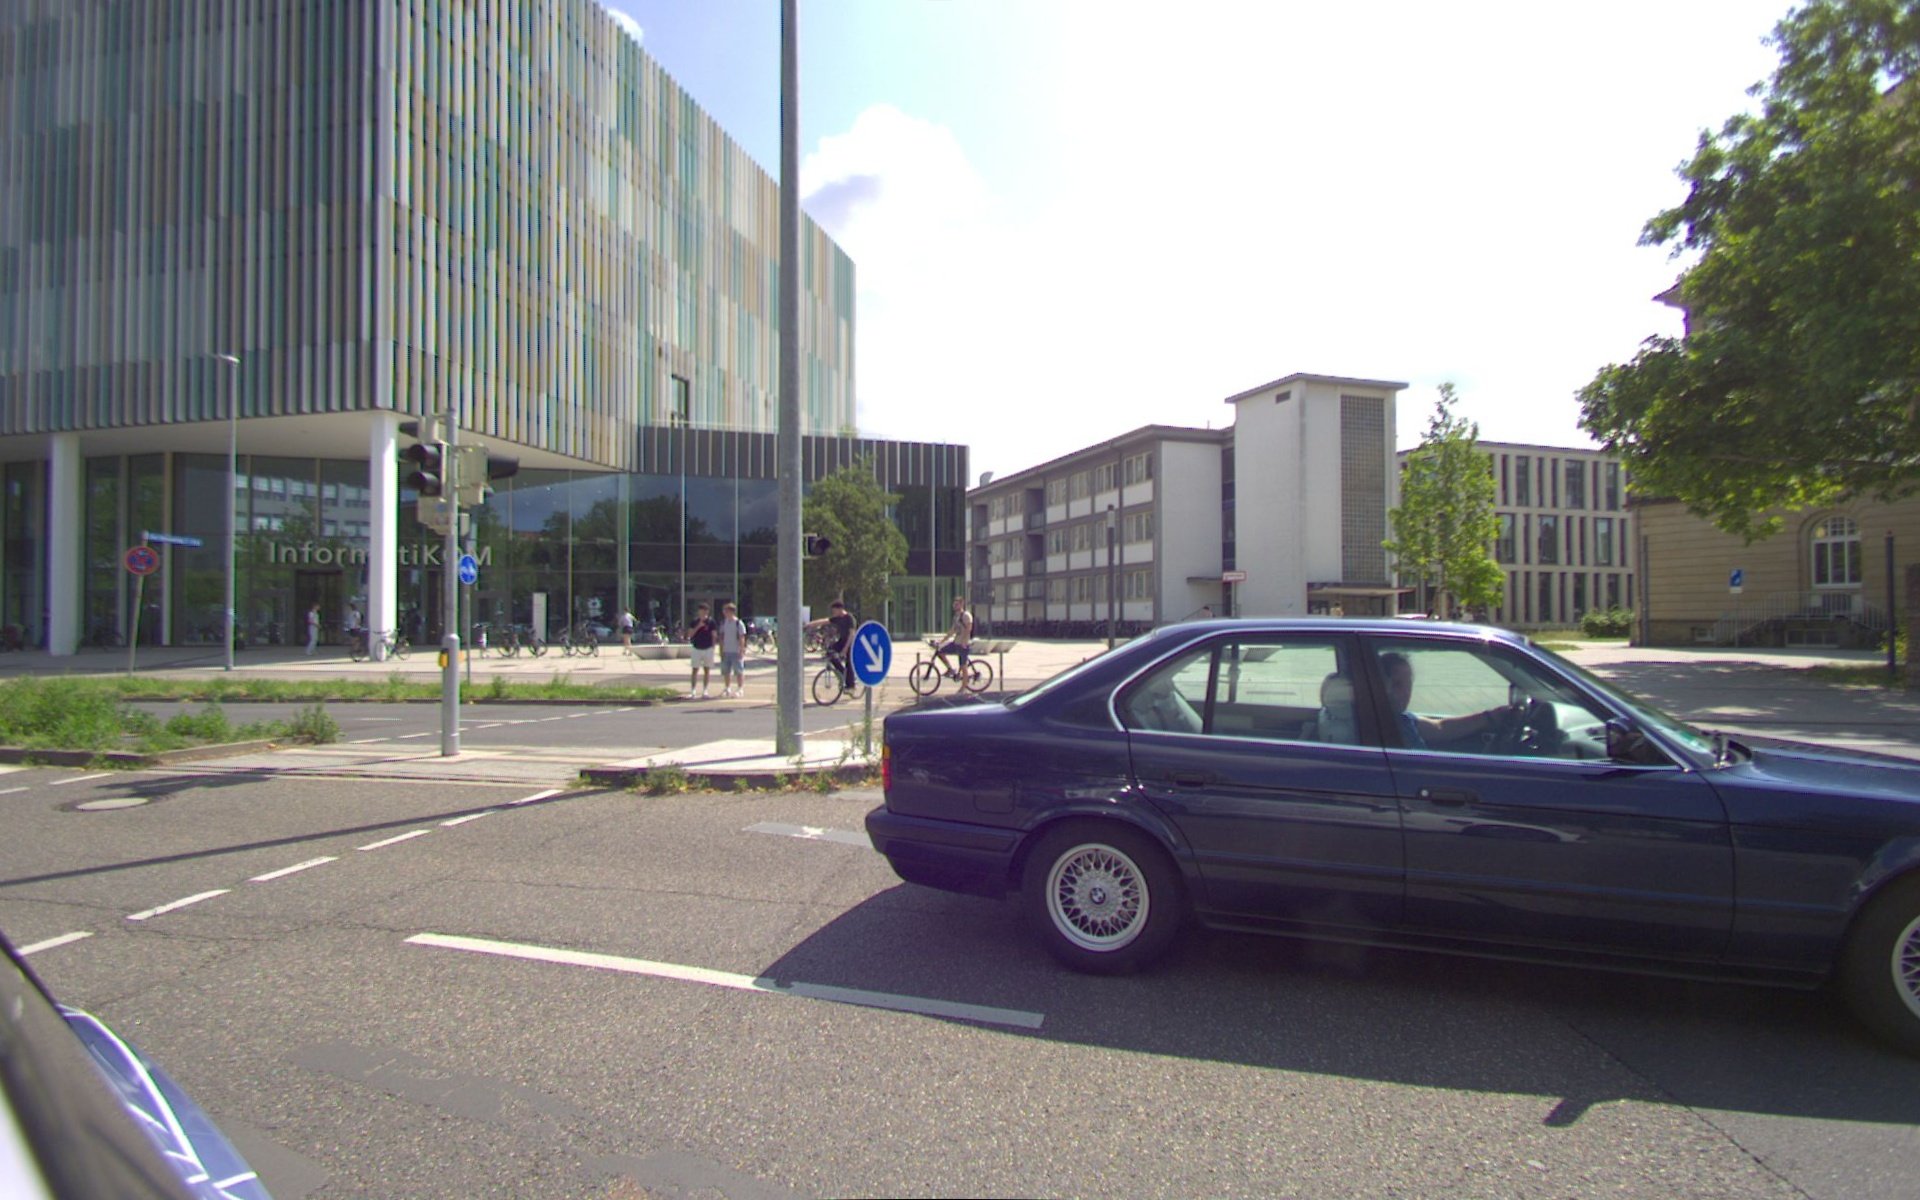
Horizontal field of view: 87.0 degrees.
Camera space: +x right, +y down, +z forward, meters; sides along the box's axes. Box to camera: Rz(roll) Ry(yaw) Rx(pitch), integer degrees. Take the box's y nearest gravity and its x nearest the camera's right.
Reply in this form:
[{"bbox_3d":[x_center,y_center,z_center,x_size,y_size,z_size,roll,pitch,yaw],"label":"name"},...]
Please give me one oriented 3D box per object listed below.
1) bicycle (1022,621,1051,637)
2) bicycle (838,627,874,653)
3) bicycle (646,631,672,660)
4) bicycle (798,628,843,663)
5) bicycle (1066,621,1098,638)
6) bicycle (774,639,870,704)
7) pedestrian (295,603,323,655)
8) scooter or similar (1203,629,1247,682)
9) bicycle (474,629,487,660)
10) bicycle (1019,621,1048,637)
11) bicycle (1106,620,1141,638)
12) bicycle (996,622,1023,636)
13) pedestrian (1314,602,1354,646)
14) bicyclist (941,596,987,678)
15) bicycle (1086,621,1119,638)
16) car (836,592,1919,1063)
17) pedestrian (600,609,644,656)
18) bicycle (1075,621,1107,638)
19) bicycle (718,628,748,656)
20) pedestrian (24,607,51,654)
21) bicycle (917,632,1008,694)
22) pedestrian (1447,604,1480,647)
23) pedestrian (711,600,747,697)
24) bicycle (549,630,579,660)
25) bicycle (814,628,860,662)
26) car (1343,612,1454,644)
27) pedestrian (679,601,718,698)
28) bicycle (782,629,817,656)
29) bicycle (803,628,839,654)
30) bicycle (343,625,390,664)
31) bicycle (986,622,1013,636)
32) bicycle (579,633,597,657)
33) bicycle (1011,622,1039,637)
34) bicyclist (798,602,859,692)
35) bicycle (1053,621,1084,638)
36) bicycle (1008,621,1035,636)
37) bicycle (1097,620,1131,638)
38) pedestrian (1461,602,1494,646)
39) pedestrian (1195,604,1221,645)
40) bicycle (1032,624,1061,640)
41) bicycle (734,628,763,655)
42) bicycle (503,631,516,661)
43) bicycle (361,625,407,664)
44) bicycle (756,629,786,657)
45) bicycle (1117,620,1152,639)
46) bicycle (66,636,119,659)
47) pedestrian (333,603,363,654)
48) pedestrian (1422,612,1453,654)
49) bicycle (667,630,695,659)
[{"bbox_3d":[4.835,1.821,63.755,1.744,0.962,0.530,0,0,-14],"label":"bicycle"},{"bbox_3d":[-4.015,1.535,38.887,0.520,0.962,1.777,0,-1,-38],"label":"bicycle"},{"bbox_3d":[-10.757,1.624,36.180,0.520,0.962,1.779,0,0,-29],"label":"bicycle"},{"bbox_3d":[-4.125,1.318,29.857,0.520,0.962,1.777,0,-1,-38],"label":"bicycle"},{"bbox_3d":[7.113,1.708,59.131,1.744,0.962,0.530,0,0,-14],"label":"bicycle"},{"bbox_3d":[-2.563,1.309,18.800,1.642,1.133,0.697,0,-1,-22],"label":"bicycle"},{"bbox_3d":[-23.513,1.052,36.569,0.776,1.856,0.518,0,0,-41],"label":"pedestrian"},{"bbox_3d":[5.684,1.178,21.770,0.396,1.075,1.154,0,-1,-13],"label":"scooter or similar"},{"bbox_3d":[-16.137,1.488,34.054,0.367,0.962,1.551,0,-1,-24],"label":"bicycle"},{"bbox_3d":[4.672,1.845,64.638,1.744,0.962,0.530,0,0,-14],"label":"bicycle"},{"bbox_3d":[8.840,1.561,54.708,1.744,0.962,0.530,0,0,-14],"label":"bicycle"},{"bbox_3d":[3.362,1.949,68.453,1.744,0.962,0.530,0,0,-14],"label":"bicycle"},{"bbox_3d":[14.600,0.934,39.524,1.293,1.663,1.314,-1,-1,27],"label":"pedestrian"},{"bbox_3d":[0.068,0.714,19.573,0.773,1.550,0.658,0,-1,-10],"label":"bicyclist"},{"bbox_3d":[8.009,1.643,56.864,1.744,0.962,0.530,0,0,-14],"label":"bicycle"},{"bbox_3d":[1.914,0.698,4.261,4.578,1.397,1.686,-1,0,19],"label":"car"},{"bbox_3d":[-12.013,1.148,35.985,1.005,1.663,1.177,-1,-1,14],"label":"pedestrian"},{"bbox_3d":[7.532,1.676,58.107,1.744,0.962,0.530,0,0,-14],"label":"bicycle"},{"bbox_3d":[-8.489,1.553,37.777,0.520,0.962,1.778,0,-1,-32],"label":"bicycle"},{"bbox_3d":[-36.812,1.202,40.390,0.548,1.856,0.561,0,0,7],"label":"pedestrian"},{"bbox_3d":[0.037,1.195,19.557,1.644,1.133,0.697,0,-1,-10],"label":"bicycle"},{"bbox_3d":[21.496,1.069,43.250,0.829,1.803,0.895,0,-1,-16],"label":"pedestrian"},{"bbox_3d":[-4.486,0.931,19.638,0.569,1.856,0.414,-1,0,9],"label":"pedestrian"},{"bbox_3d":[-13.806,1.551,35.320,0.521,0.962,1.776,0,0,-6],"label":"bicycle"},{"bbox_3d":[-3.695,1.336,30.259,0.520,0.962,1.777,0,-1,-38],"label":"bicycle"},{"bbox_3d":[20.172,1.264,46.614,4.417,1.316,2.006,-1,1,-17],"label":"car"},{"bbox_3d":[-5.034,0.941,19.511,0.624,1.856,0.480,0,0,0],"label":"pedestrian"},{"bbox_3d":[-6.088,1.598,38.327,0.520,0.962,1.777,0,-1,-38],"label":"bicycle"},{"bbox_3d":[-5.288,1.550,38.456,0.520,0.962,1.777,0,-1,-38],"label":"bicycle"},{"bbox_3d":[-19.361,1.433,33.030,0.370,1.196,1.540,0,0,12],"label":"bicycle"},{"bbox_3d":[2.751,2.006,70.287,1.744,0.962,0.530,0,0,-14],"label":"bicycle"},{"bbox_3d":[-13.019,1.577,35.479,0.520,0.770,1.779,0,0,-18],"label":"bicycle"},{"bbox_3d":[4.231,1.900,66.110,1.744,0.962,0.530,0,0,-14],"label":"bicycle"},{"bbox_3d":[-2.454,0.856,18.858,0.982,1.628,0.659,0,-1,-23],"label":"bicyclist"},{"bbox_3d":[6.425,1.731,60.164,1.744,0.962,0.530,0,0,-14],"label":"bicycle"},{"bbox_3d":[4.053,1.891,66.746,1.744,0.962,0.530,0,0,-14],"label":"bicycle"},{"bbox_3d":[8.477,1.602,55.691,1.744,0.962,0.530,0,0,-14],"label":"bicycle"},{"bbox_3d":[21.715,1.010,42.460,0.829,1.803,0.868,0,-1,-16],"label":"pedestrian"},{"bbox_3d":[10.980,1.084,44.806,0.829,1.803,0.679,0,-1,-16],"label":"pedestrian"},{"bbox_3d":[5.341,1.993,62.540,1.744,0.962,0.530,0,0,-14],"label":"bicycle"},{"bbox_3d":[-7.985,1.555,38.175,0.520,0.962,1.778,0,-1,-32],"label":"bicycle"},{"bbox_3d":[-15.517,1.583,34.848,0.367,0.962,1.779,0,-1,-24],"label":"bicycle"},{"bbox_3d":[-18.805,1.448,33.072,0.370,1.196,1.540,0,1,12],"label":"bicycle"},{"bbox_3d":[-7.128,1.609,38.125,0.520,0.962,1.778,0,-1,-32],"label":"bicycle"},{"bbox_3d":[9.202,1.568,53.448,1.744,0.962,0.530,0,0,-11],"label":"bicycle"},{"bbox_3d":[-32.093,1.757,37.461,0.370,0.782,1.538,-1,0,17],"label":"bicycle"},{"bbox_3d":[-22.612,1.046,37.413,0.673,1.856,0.686,-1,0,22],"label":"pedestrian"},{"bbox_3d":[20.773,1.415,44.039,0.829,1.803,0.816,0,-1,-16],"label":"pedestrian"},{"bbox_3d":[-10.150,1.606,36.762,0.520,0.962,1.779,-3,1,-29],"label":"bicycle"}]
